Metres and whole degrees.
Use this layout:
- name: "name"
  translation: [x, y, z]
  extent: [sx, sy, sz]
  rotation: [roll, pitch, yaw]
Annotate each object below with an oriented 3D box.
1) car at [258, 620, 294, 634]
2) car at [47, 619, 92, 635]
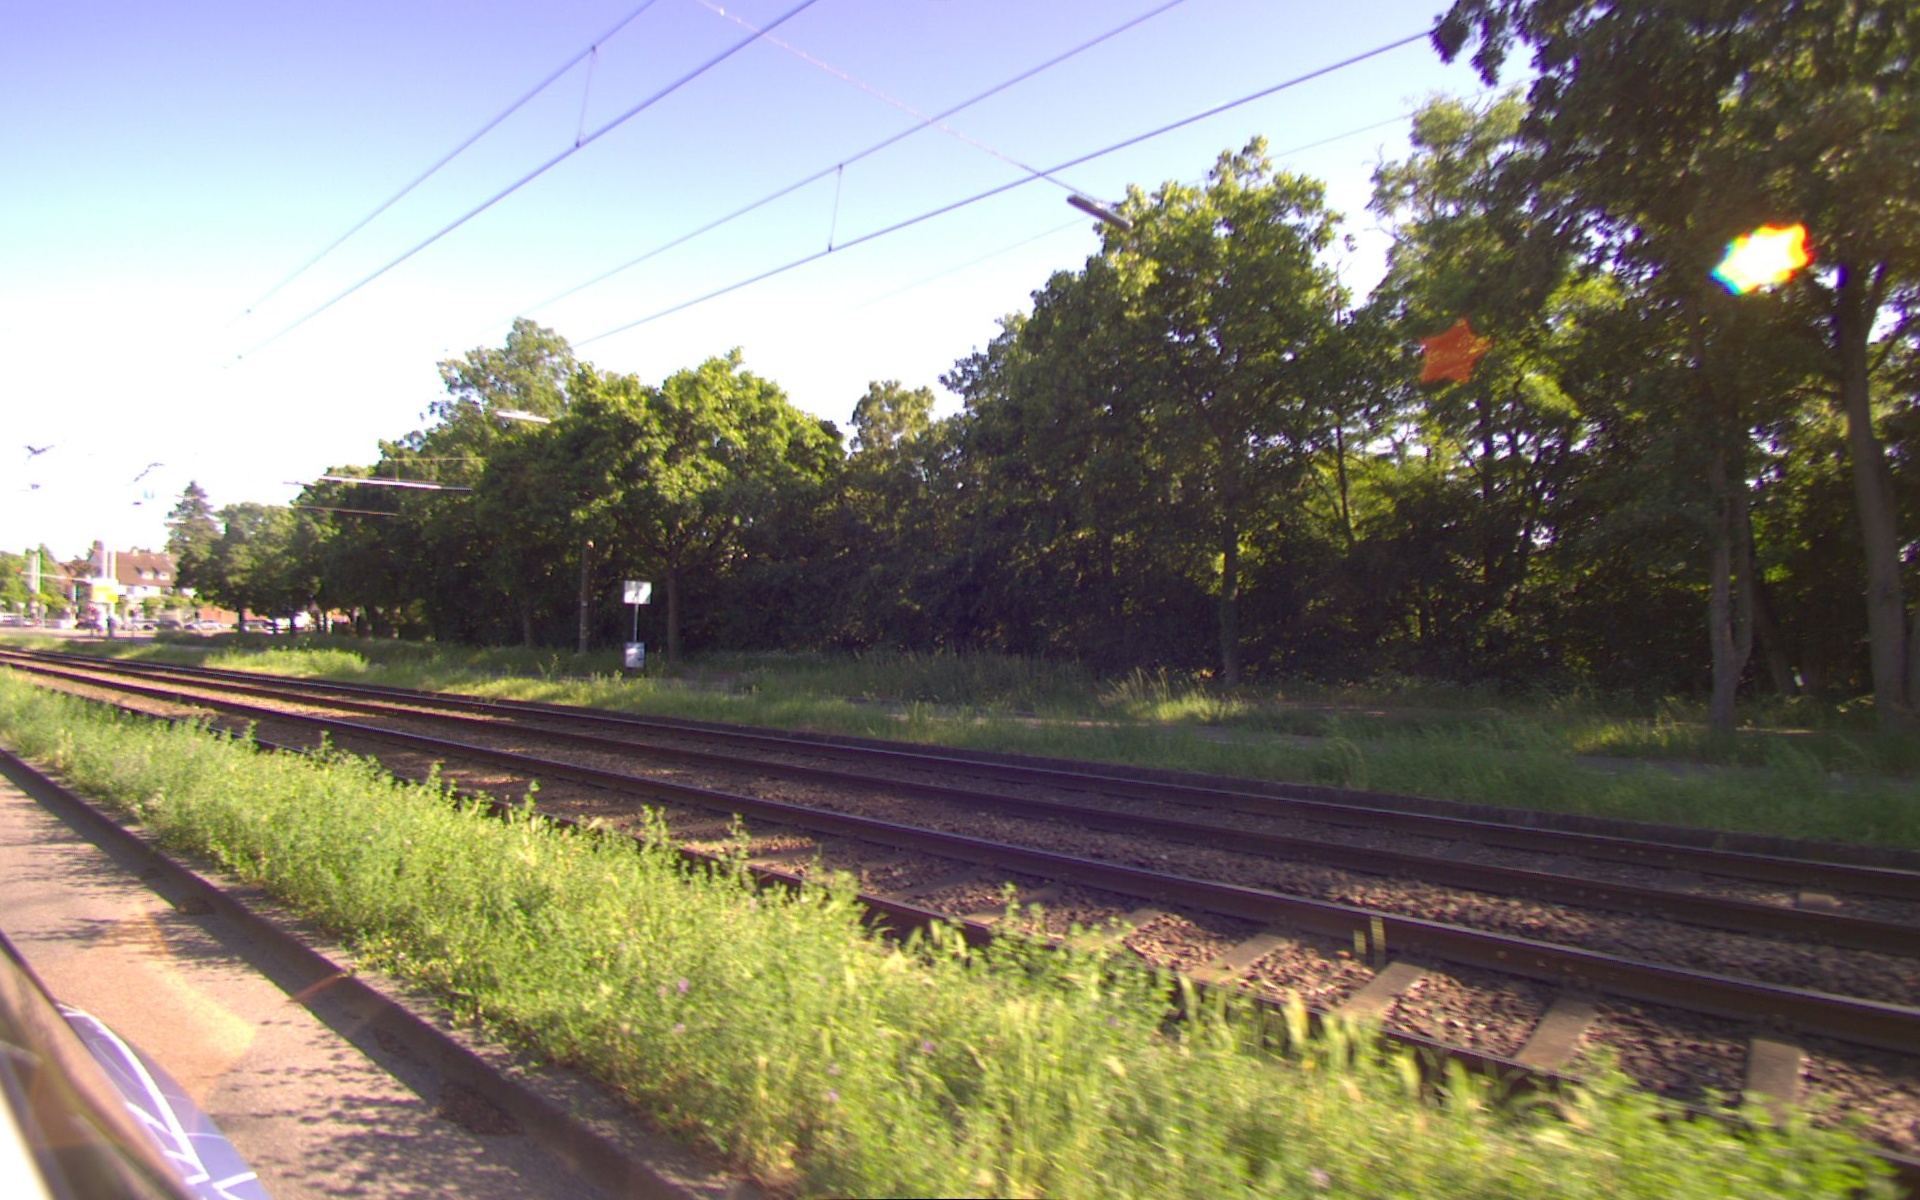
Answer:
- name: "car"
  translation: [-100.270, 3.921, 148.429]
  extent: [1.958, 1.962, 3.972]
  rotation: [-1, 0, 21]
- name: "car"
  translation: [-114.068, 3.401, 129.687]
  extent: [1.958, 1.962, 3.972]
  rotation: [-1, 0, 21]
